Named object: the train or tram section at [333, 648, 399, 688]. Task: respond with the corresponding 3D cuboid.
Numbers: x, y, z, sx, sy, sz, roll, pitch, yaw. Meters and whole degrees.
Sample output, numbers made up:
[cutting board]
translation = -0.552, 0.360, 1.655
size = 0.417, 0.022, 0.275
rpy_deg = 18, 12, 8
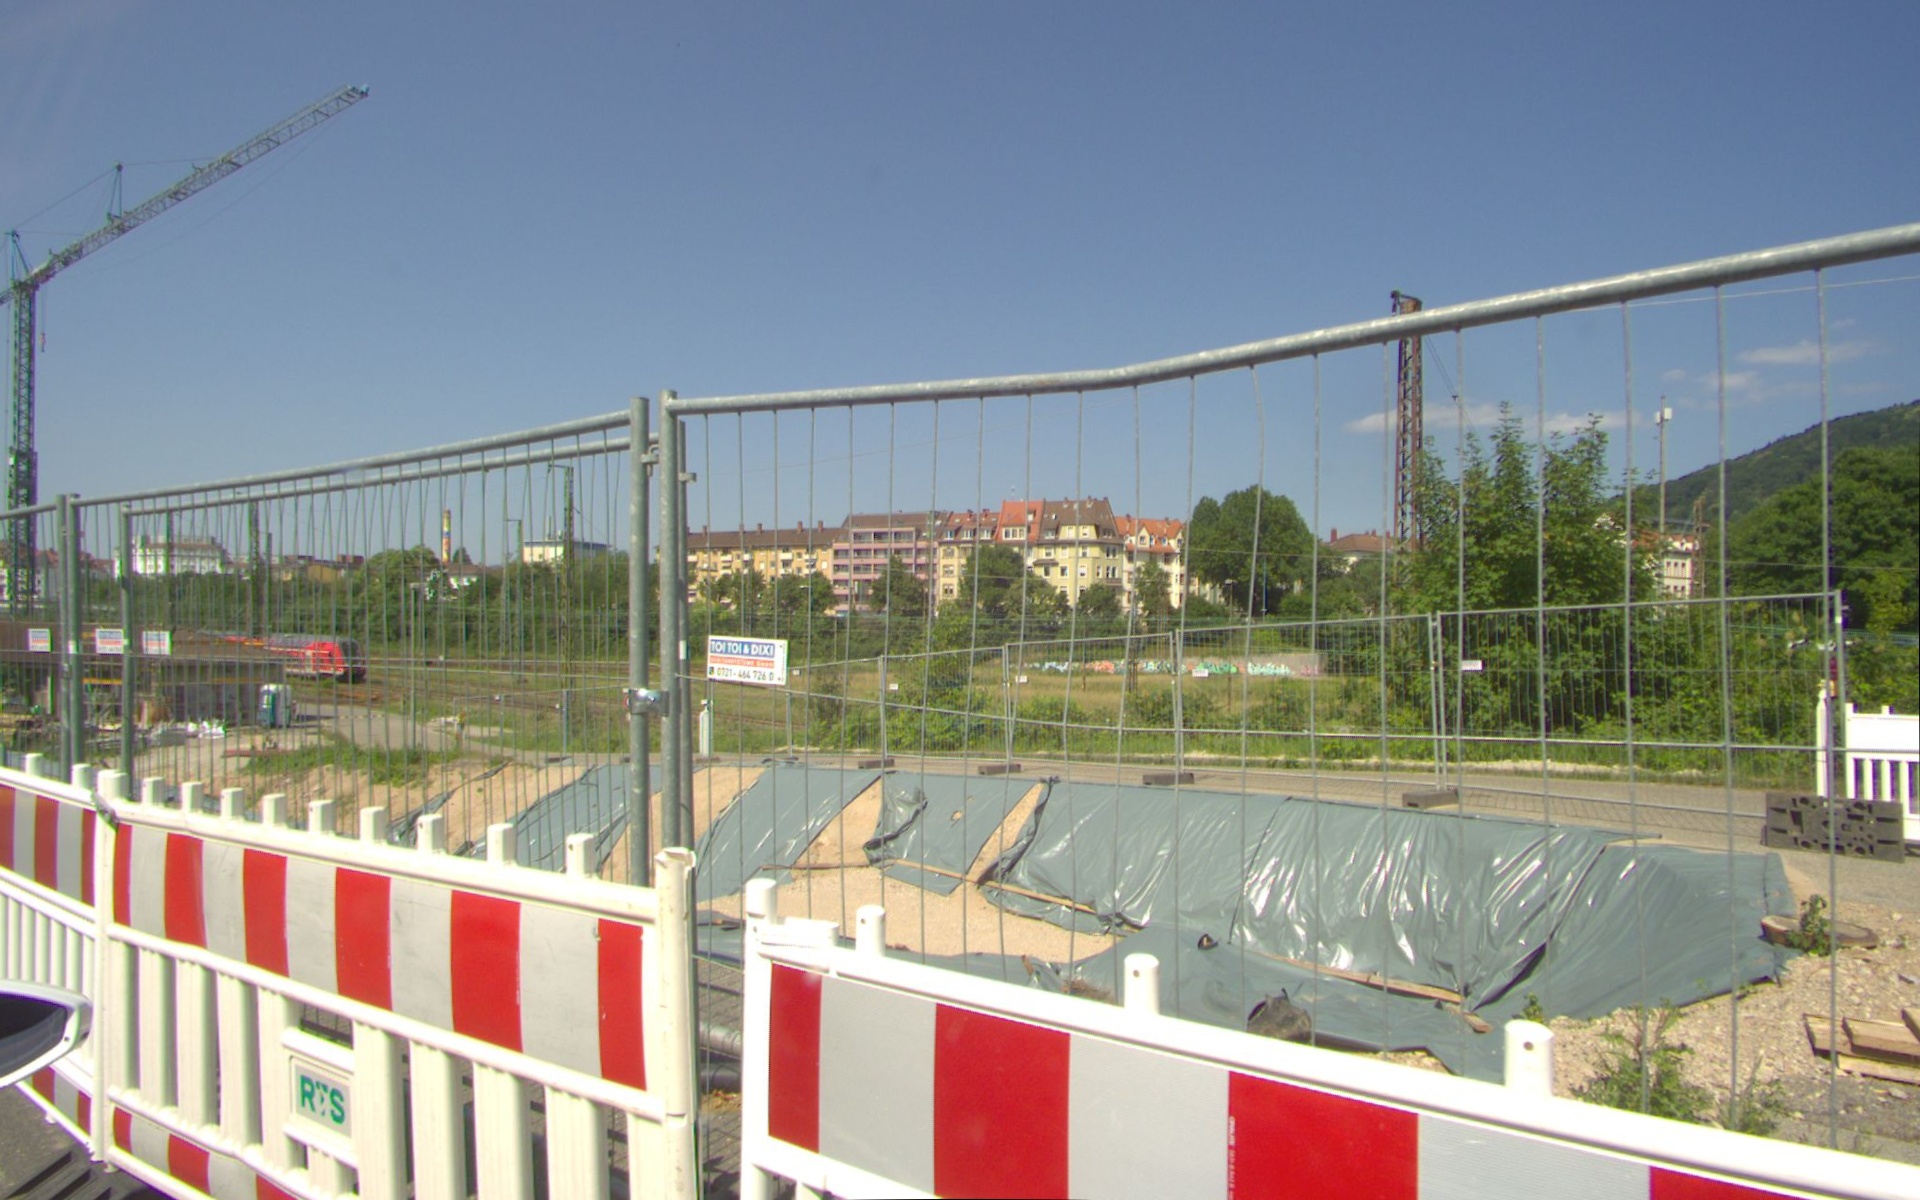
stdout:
[train or tram section]
translation = -59.219, 6.737, 99.676
size = 8.873, 3.746, 3.002
rpy_deg = -2, -4, 42
